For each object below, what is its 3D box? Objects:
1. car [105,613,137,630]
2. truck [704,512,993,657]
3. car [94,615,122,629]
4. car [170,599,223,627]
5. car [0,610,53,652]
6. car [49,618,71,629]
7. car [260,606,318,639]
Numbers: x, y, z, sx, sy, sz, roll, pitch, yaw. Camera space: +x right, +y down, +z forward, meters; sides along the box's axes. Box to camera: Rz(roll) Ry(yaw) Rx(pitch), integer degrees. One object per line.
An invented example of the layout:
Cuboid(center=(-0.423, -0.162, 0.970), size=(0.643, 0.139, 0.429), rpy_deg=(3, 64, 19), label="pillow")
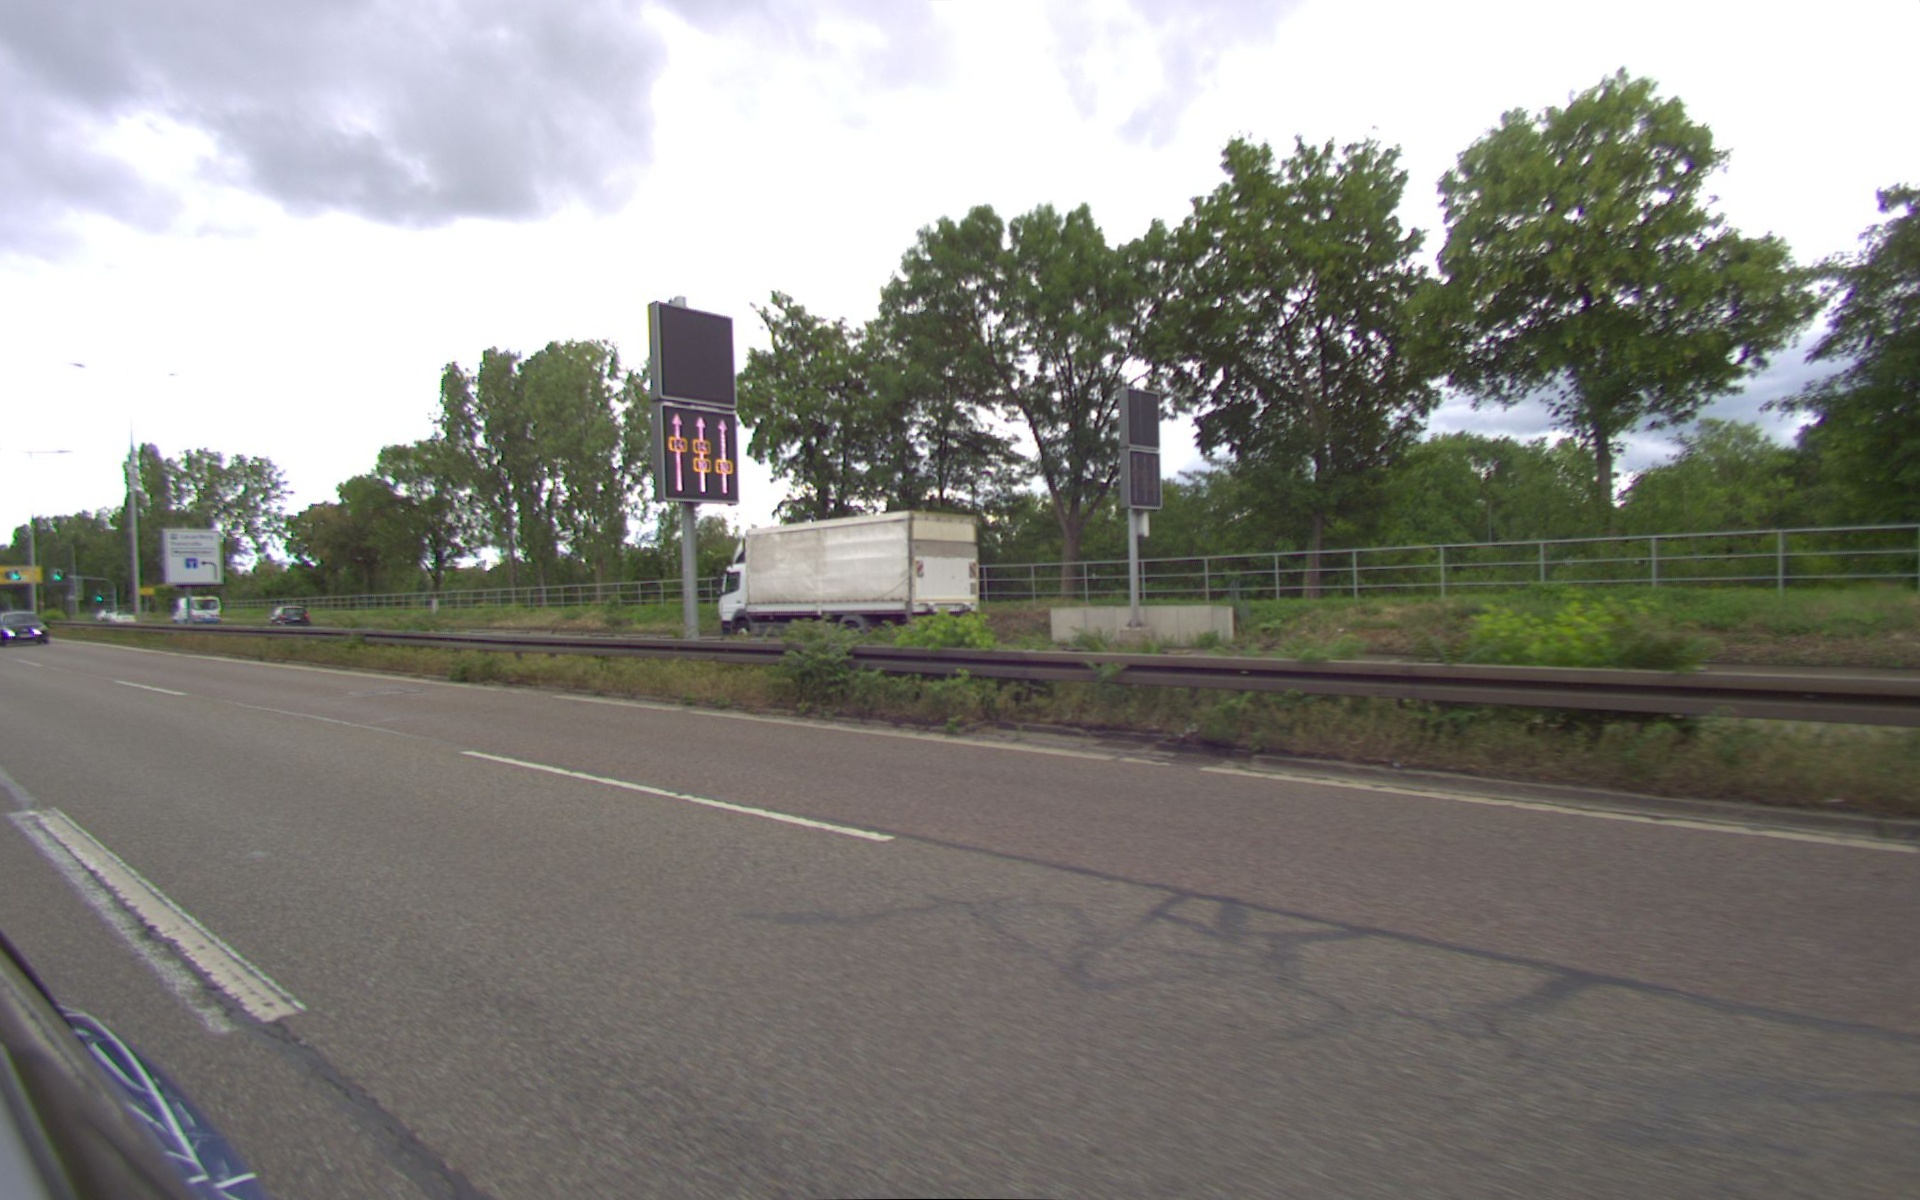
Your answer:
Cuboid(center=(-76.041, 1.963, 91.729), size=(3.987, 1.409, 1.642), rpy_deg=(-2, 1, 42), label="car")
Cuboid(center=(-3.589, -0.350, 29.628), size=(9.588, 3.605, 2.857), rpy_deg=(-1, 0, 44), label="truck")
Cuboid(center=(-97.961, 2.511, 116.387), size=(4.200, 1.501, 1.859), rpy_deg=(-2, 1, 41), label="car")
Cuboid(center=(-55.986, 0.979, 74.207), size=(5.475, 1.962, 2.201), rpy_deg=(-2, 1, 44), label="car")
Cuboid(center=(-42.611, 1.425, 45.691), size=(4.143, 1.737, 1.860), rpy_deg=(-2, 1, 40), label="car")
Cuboid(center=(-123.727, 3.197, 139.134), size=(4.784, 1.309, 1.643), rpy_deg=(-2, 1, 41), label="car")
Cuboid(center=(-38.840, 1.309, 58.558), size=(4.147, 1.737, 1.858), rpy_deg=(-2, 1, 44), label="car")
